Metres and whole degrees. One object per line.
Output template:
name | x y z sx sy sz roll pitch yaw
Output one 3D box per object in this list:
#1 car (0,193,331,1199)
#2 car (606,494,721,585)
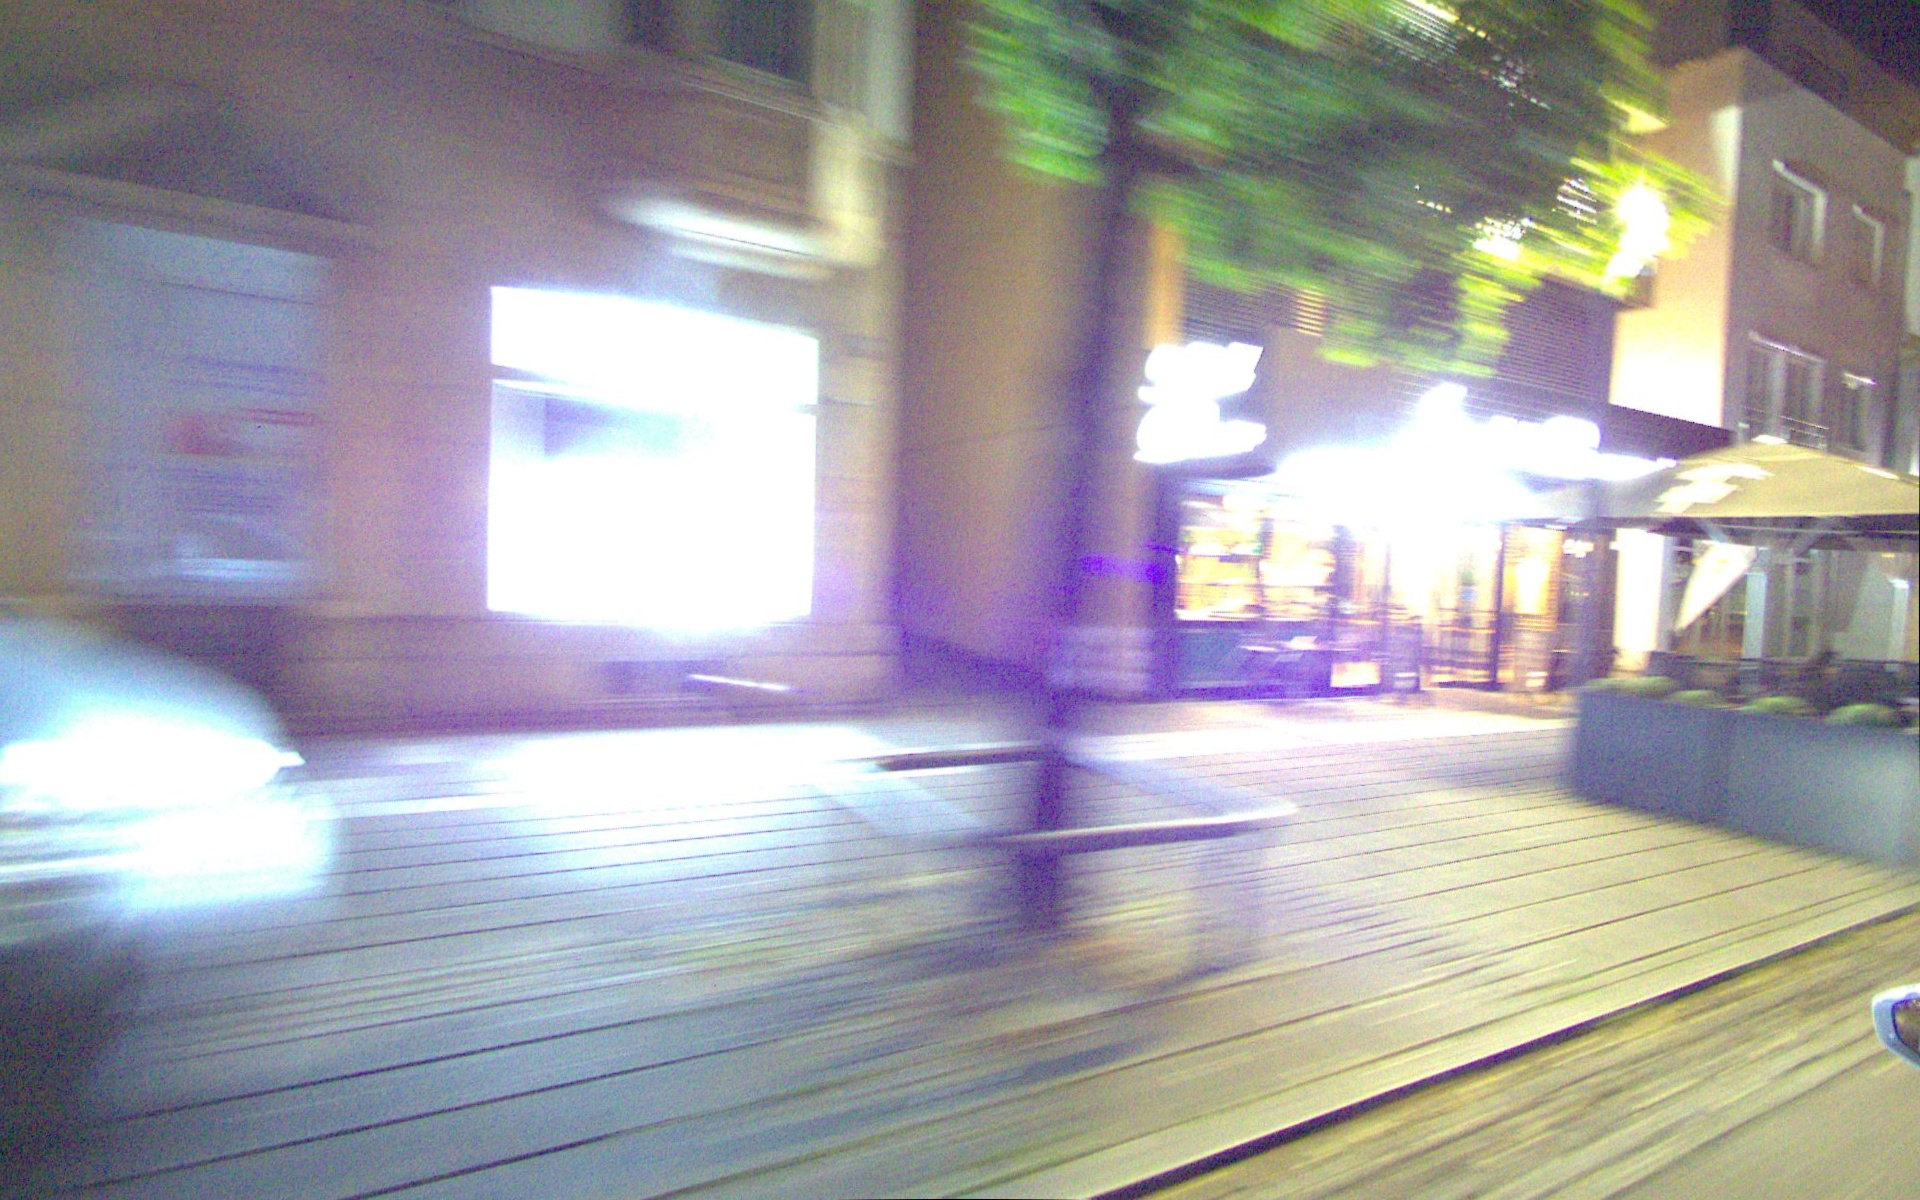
car | -3.742 0.309 1.167 5.019 1.992 1.914 1 3 -31
car | -7.640 -1.471 25.660 1.976 2.040 3.969 1 1 -29
